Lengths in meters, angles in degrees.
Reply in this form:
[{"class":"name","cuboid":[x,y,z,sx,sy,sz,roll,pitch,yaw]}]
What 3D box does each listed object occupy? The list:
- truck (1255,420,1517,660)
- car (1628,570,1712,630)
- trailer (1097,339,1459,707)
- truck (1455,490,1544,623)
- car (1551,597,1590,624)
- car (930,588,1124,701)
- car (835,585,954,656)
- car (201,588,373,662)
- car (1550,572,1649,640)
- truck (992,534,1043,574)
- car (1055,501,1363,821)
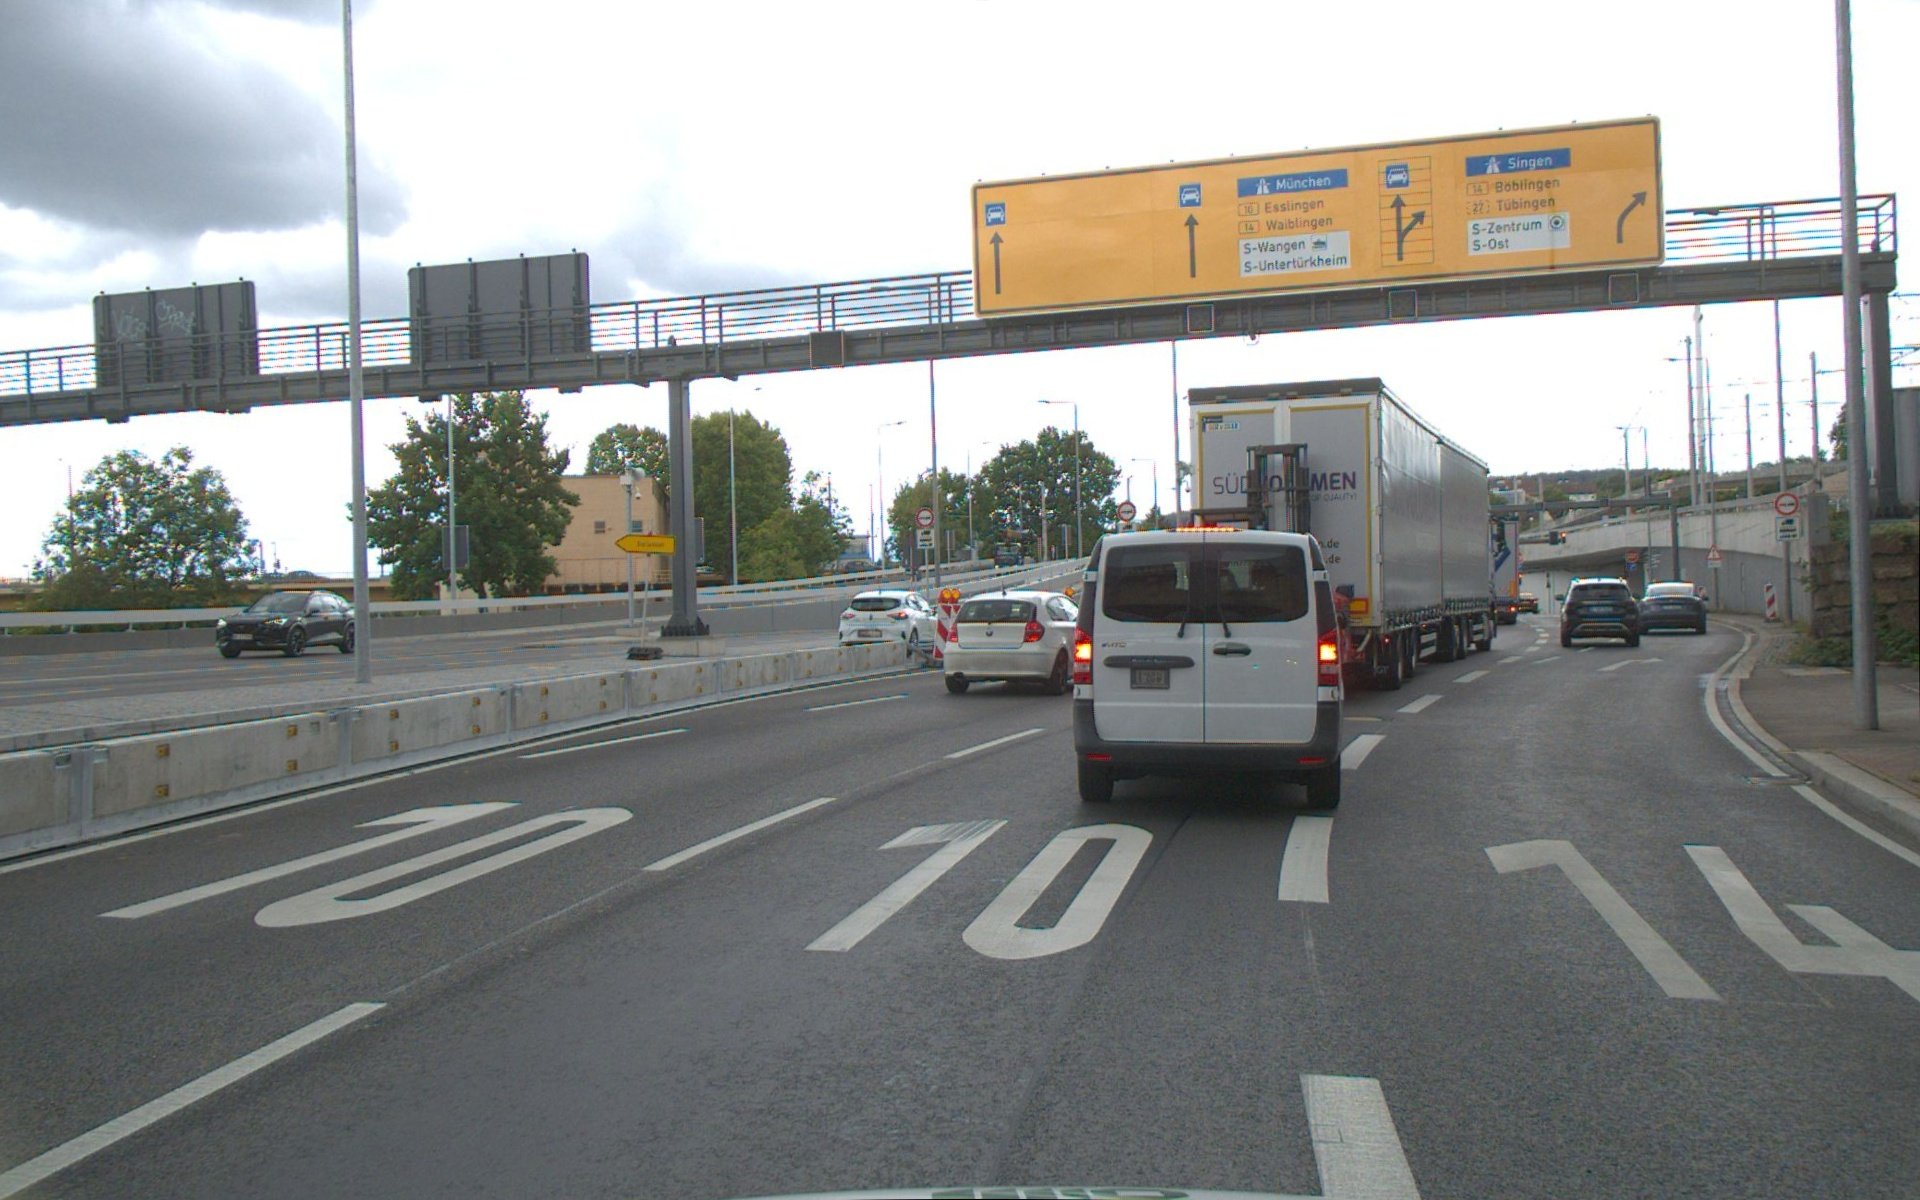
[{"class":"truck","cuboid":[9.309,-1.061,34.828,3.649,4.214,10.979,0,0,24]},{"class":"car","cuboid":[20.560,0.009,48.016,1.853,1.654,4.002,0,0,18]},{"class":"trailer","cuboid":[5.255,-0.888,24.752,3.647,4.214,10.986,0,0,20]},{"class":"truck","cuboid":[21.549,-1.618,66.457,2.999,4.887,9.163,2,0,17]},{"class":"car","cuboid":[43.365,0.747,117.467,1.957,1.881,3.991,0,0,31]},{"class":"car","cuboid":[1.082,0.598,24.407,1.707,1.457,4.001,2,1,20]},{"class":"car","cuboid":[-1.437,0.449,37.635,1.706,1.457,3.778,2,0,14]},{"class":"car","cuboid":[-16.109,0.568,39.848,1.951,1.612,4.139,2,0,8]},{"class":"car","cuboid":[15.190,0.173,39.474,1.853,1.547,4.002,0,-1,16]},{"class":"truck","cuboid":[5.235,-4.215,149.353,2.674,3.448,10.631,1,3,13]},{"class":"car","cuboid":[2.053,0.387,13.194,1.951,2.025,5.204,0,0,10]}]
